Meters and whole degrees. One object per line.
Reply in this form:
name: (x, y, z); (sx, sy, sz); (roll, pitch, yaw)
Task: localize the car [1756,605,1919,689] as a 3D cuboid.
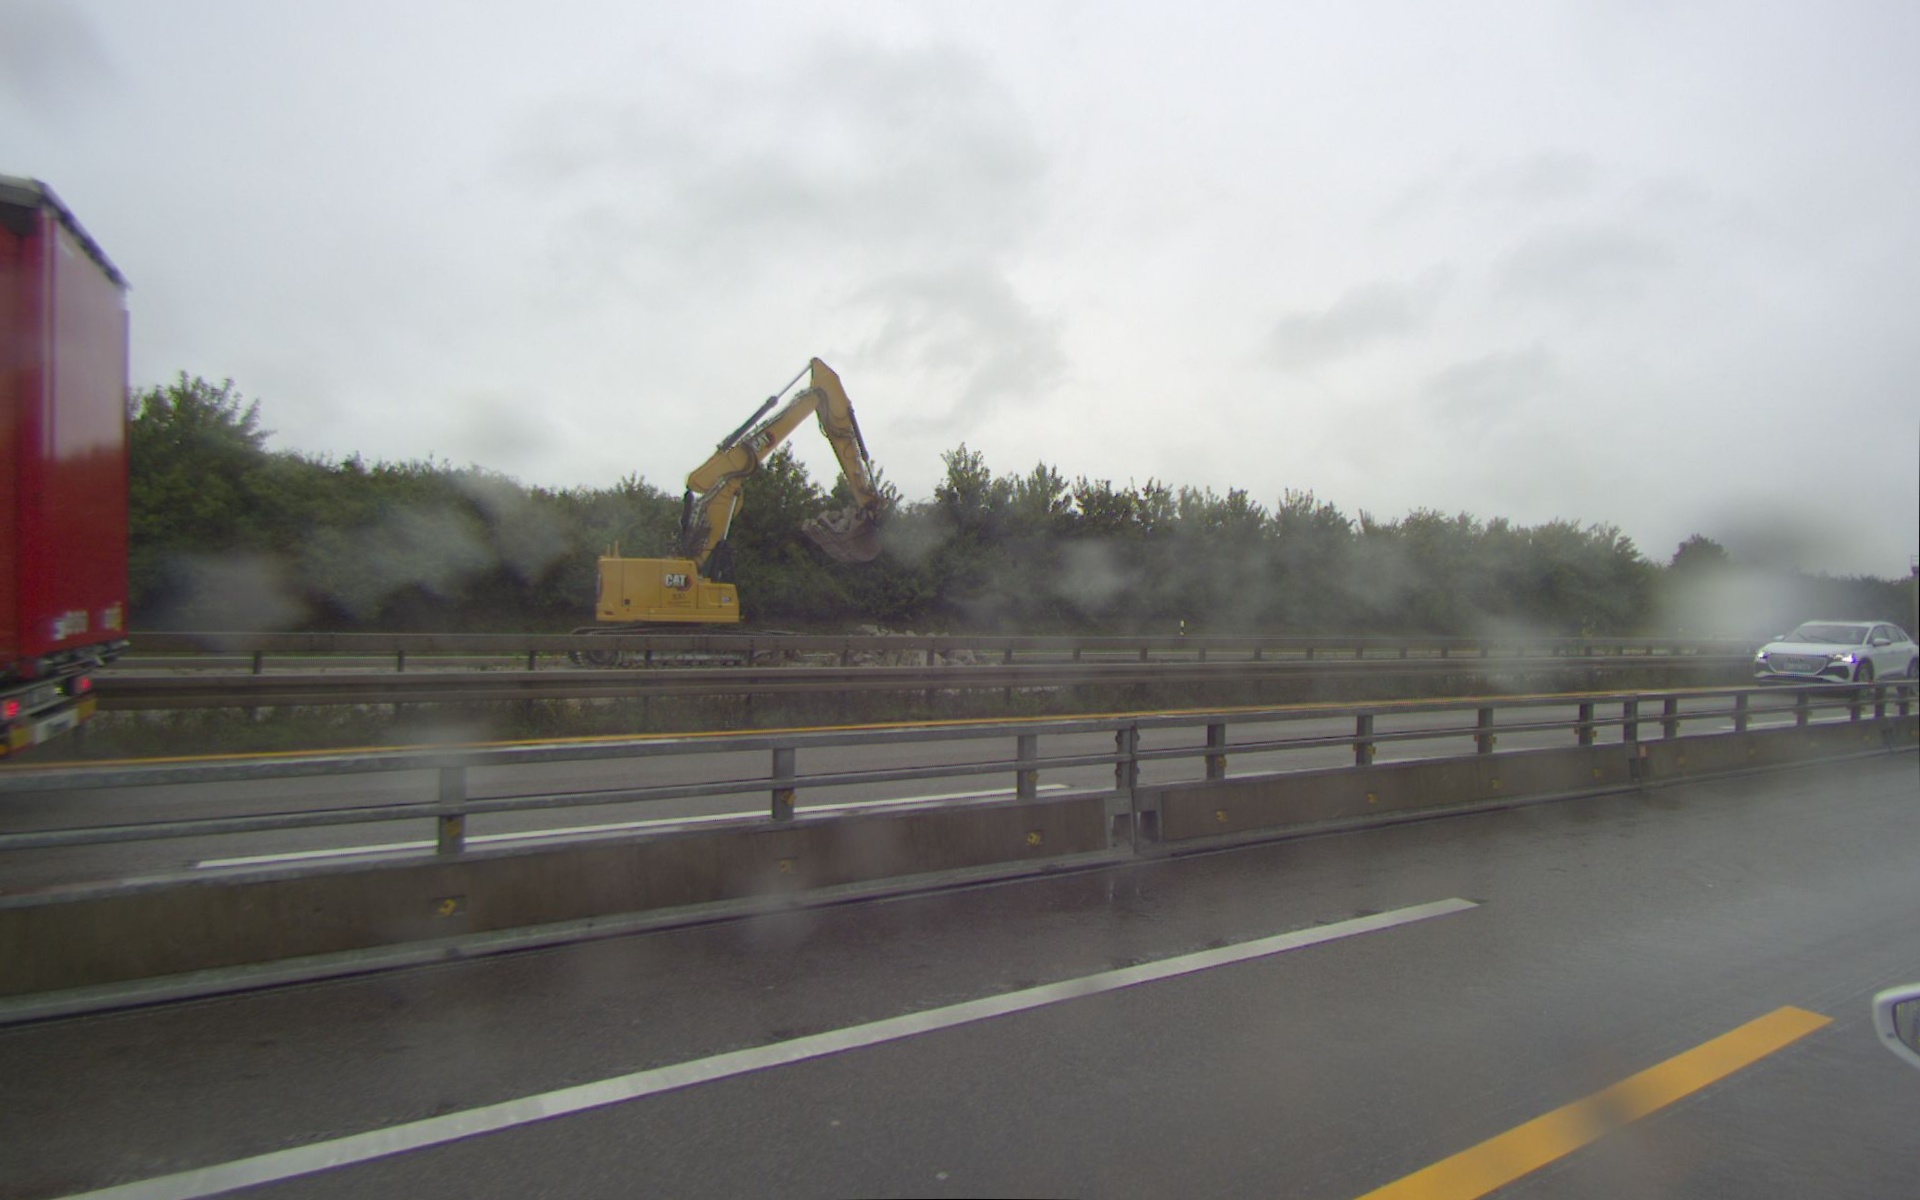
car: (19.890, 1.053, 22.537); (4.490, 1.690, 1.628); (2, 0, -30)

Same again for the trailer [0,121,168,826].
trailer: (-11.061, -0.905, 4.833); (10.932, 4.351, 2.961); (2, -2, -31)

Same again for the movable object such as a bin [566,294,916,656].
movable object such as a bin: (-5.749, -2.791, 26.664); (8.207, 8.252, 3.580); (2, 0, -29)
